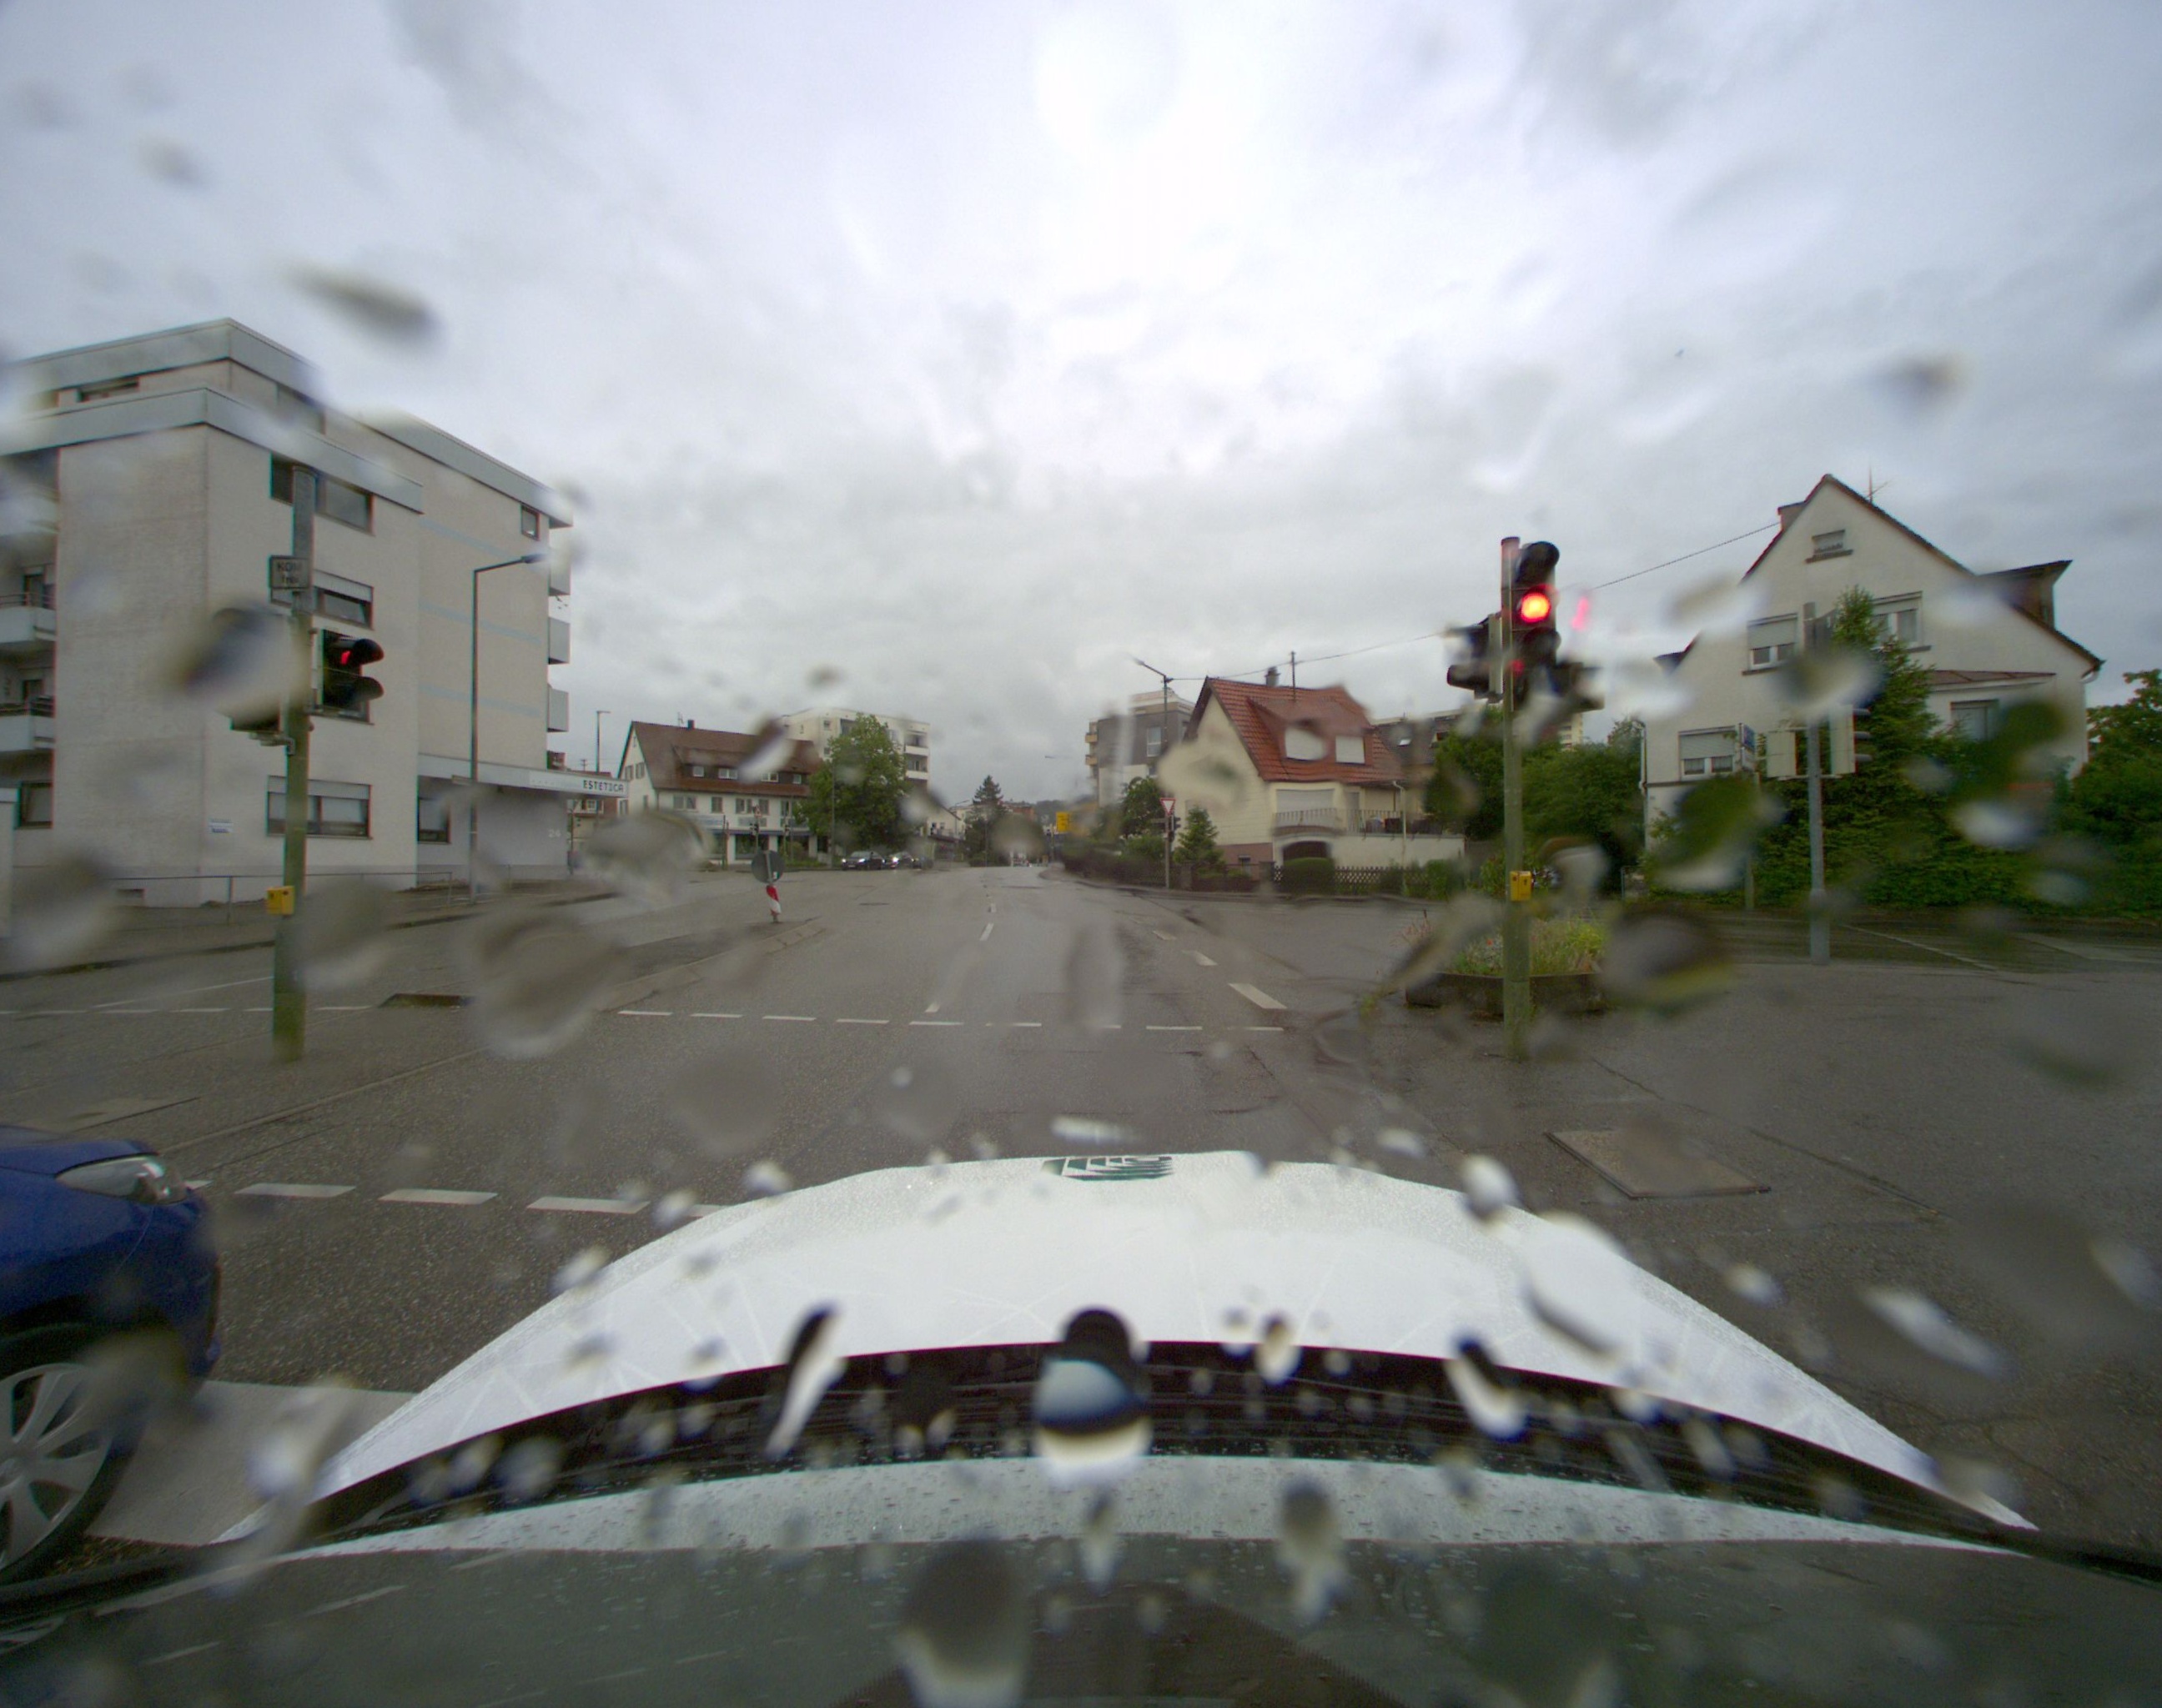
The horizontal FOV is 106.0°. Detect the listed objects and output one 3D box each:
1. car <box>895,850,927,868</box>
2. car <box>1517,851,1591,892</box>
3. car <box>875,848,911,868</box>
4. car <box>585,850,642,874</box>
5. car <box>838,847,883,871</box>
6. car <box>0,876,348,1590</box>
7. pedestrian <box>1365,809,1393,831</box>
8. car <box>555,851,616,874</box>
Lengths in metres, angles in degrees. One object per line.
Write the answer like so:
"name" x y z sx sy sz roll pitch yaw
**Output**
"car" -14.962 0.439 71.787 1.873 1.597 4.184 0 -1 0
"car" 17.107 0.602 29.362 1.794 1.362 4.025 -1 -1 37
"car" -15.273 0.342 66.291 1.960 1.512 3.999 0 -1 0
"car" -38.445 0.630 66.973 3.706 1.920 1.864 0 -1 -44
"car" -15.892 0.362 58.914 1.987 1.625 4.538 0 -1 0
"car" -2.957 0.784 0.718 1.499 1.413 3.365 0 0 2
"pedestrian" 12.767 -1.430 34.848 0.918 0.883 0.632 0 -3 -18
"car" -41.218 0.669 67.796 4.093 1.843 1.864 0 -1 -44
